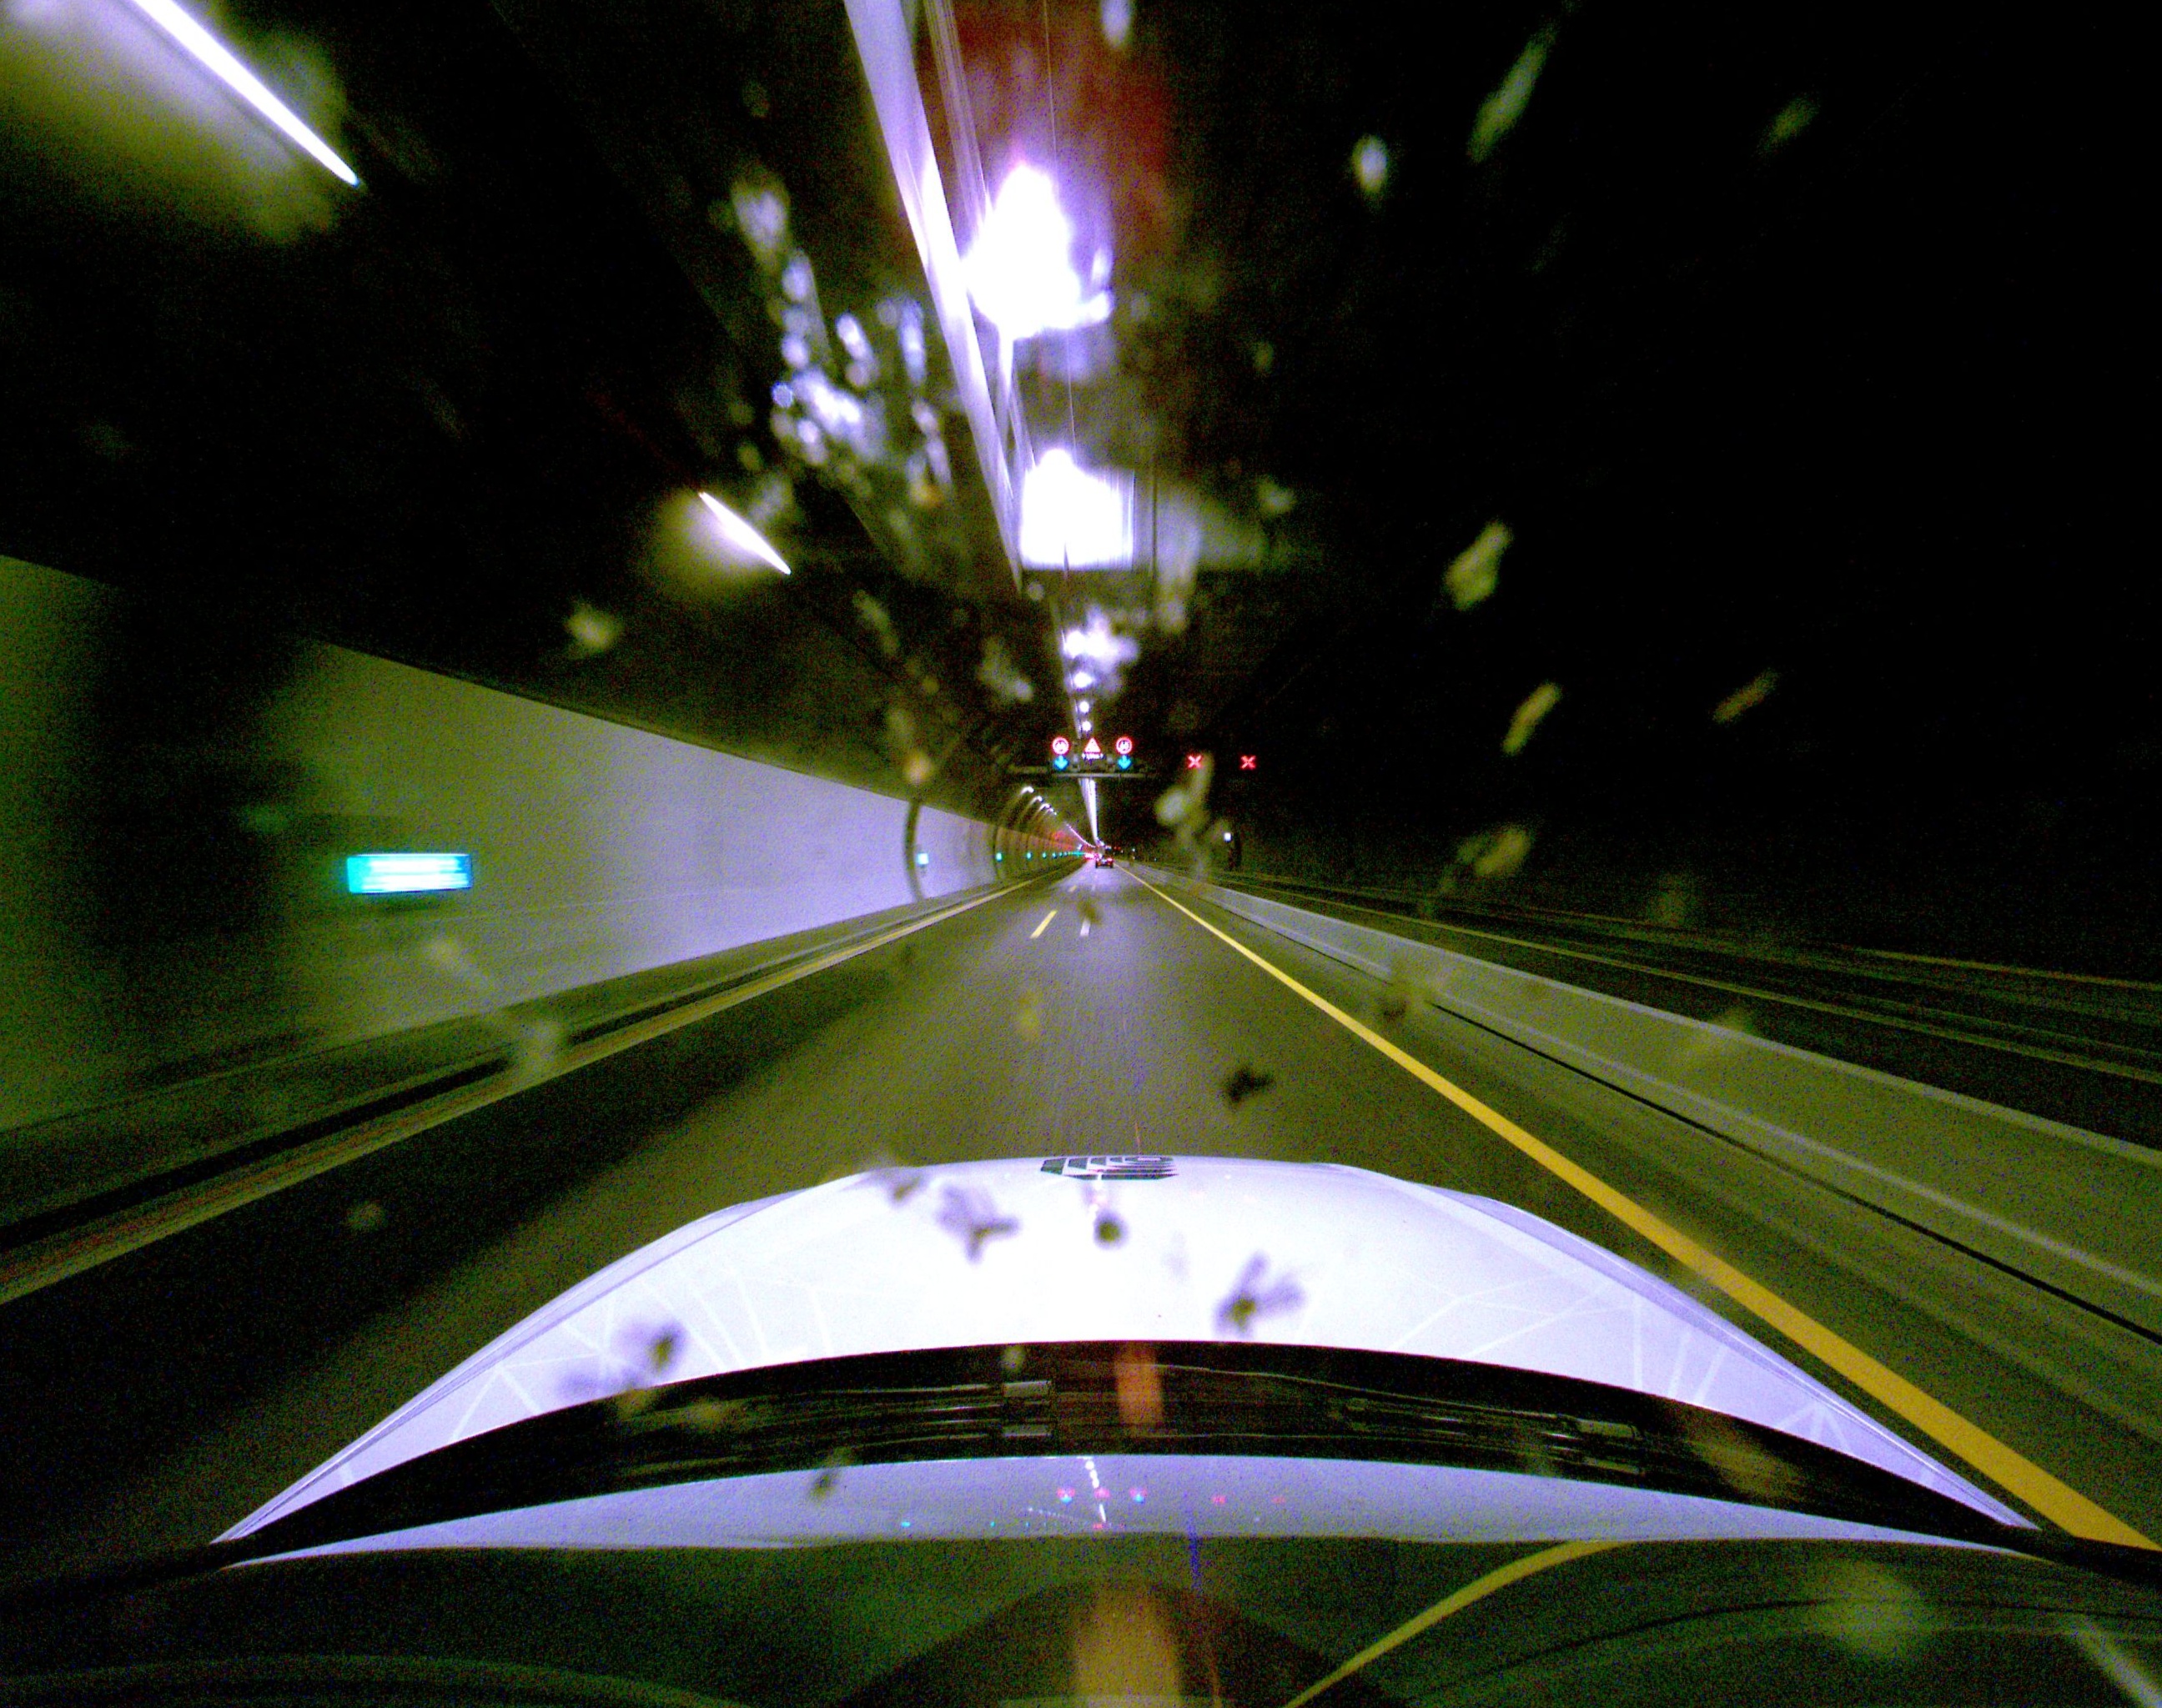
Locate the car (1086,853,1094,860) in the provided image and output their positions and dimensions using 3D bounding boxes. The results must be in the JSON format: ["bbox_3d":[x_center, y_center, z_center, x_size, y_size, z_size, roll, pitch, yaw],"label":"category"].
[{"bbox_3d":[2.218,0.530,195.249,1.924,1.687,4.000,0,0,0],"label":"car"}]

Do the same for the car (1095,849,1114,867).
[{"bbox_3d":[2.424,0.384,86.134,1.940,1.794,4.000,0,0,0],"label":"car"}]

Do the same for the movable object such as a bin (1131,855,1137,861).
[{"bbox_3d":[13.249,0.873,202.634,1.230,1.442,2.217,2,0,1],"label":"movable object such as a bin"}]
